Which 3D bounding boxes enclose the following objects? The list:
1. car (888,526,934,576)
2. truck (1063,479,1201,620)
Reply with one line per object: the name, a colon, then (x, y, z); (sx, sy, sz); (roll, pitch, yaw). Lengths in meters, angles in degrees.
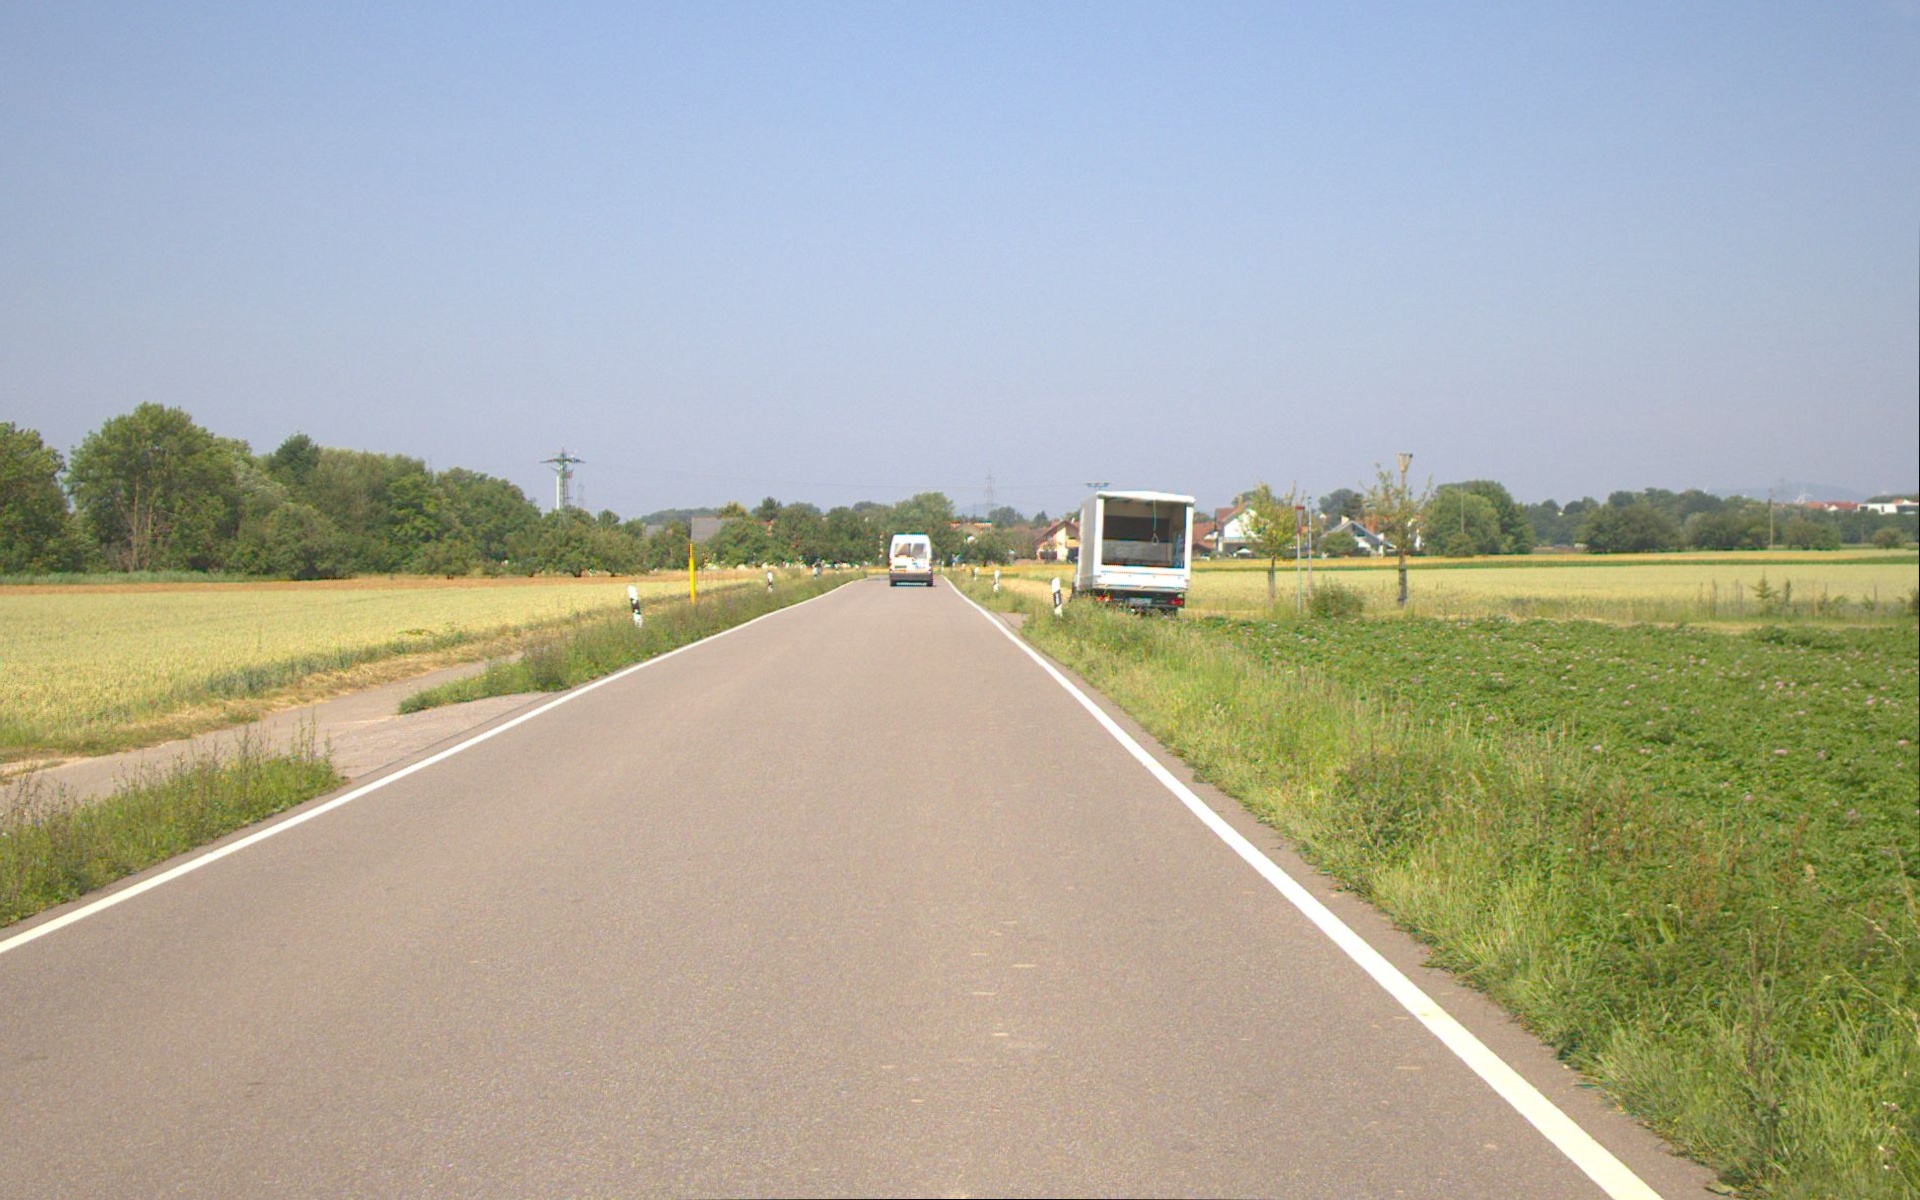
car: (-2.356, -2.326, 164.911); (2.107, 2.296, 5.496); (1, 1, -1)
truck: (3.824, -1.134, 77.864); (2.335, 2.932, 7.009); (3, 0, -3)
